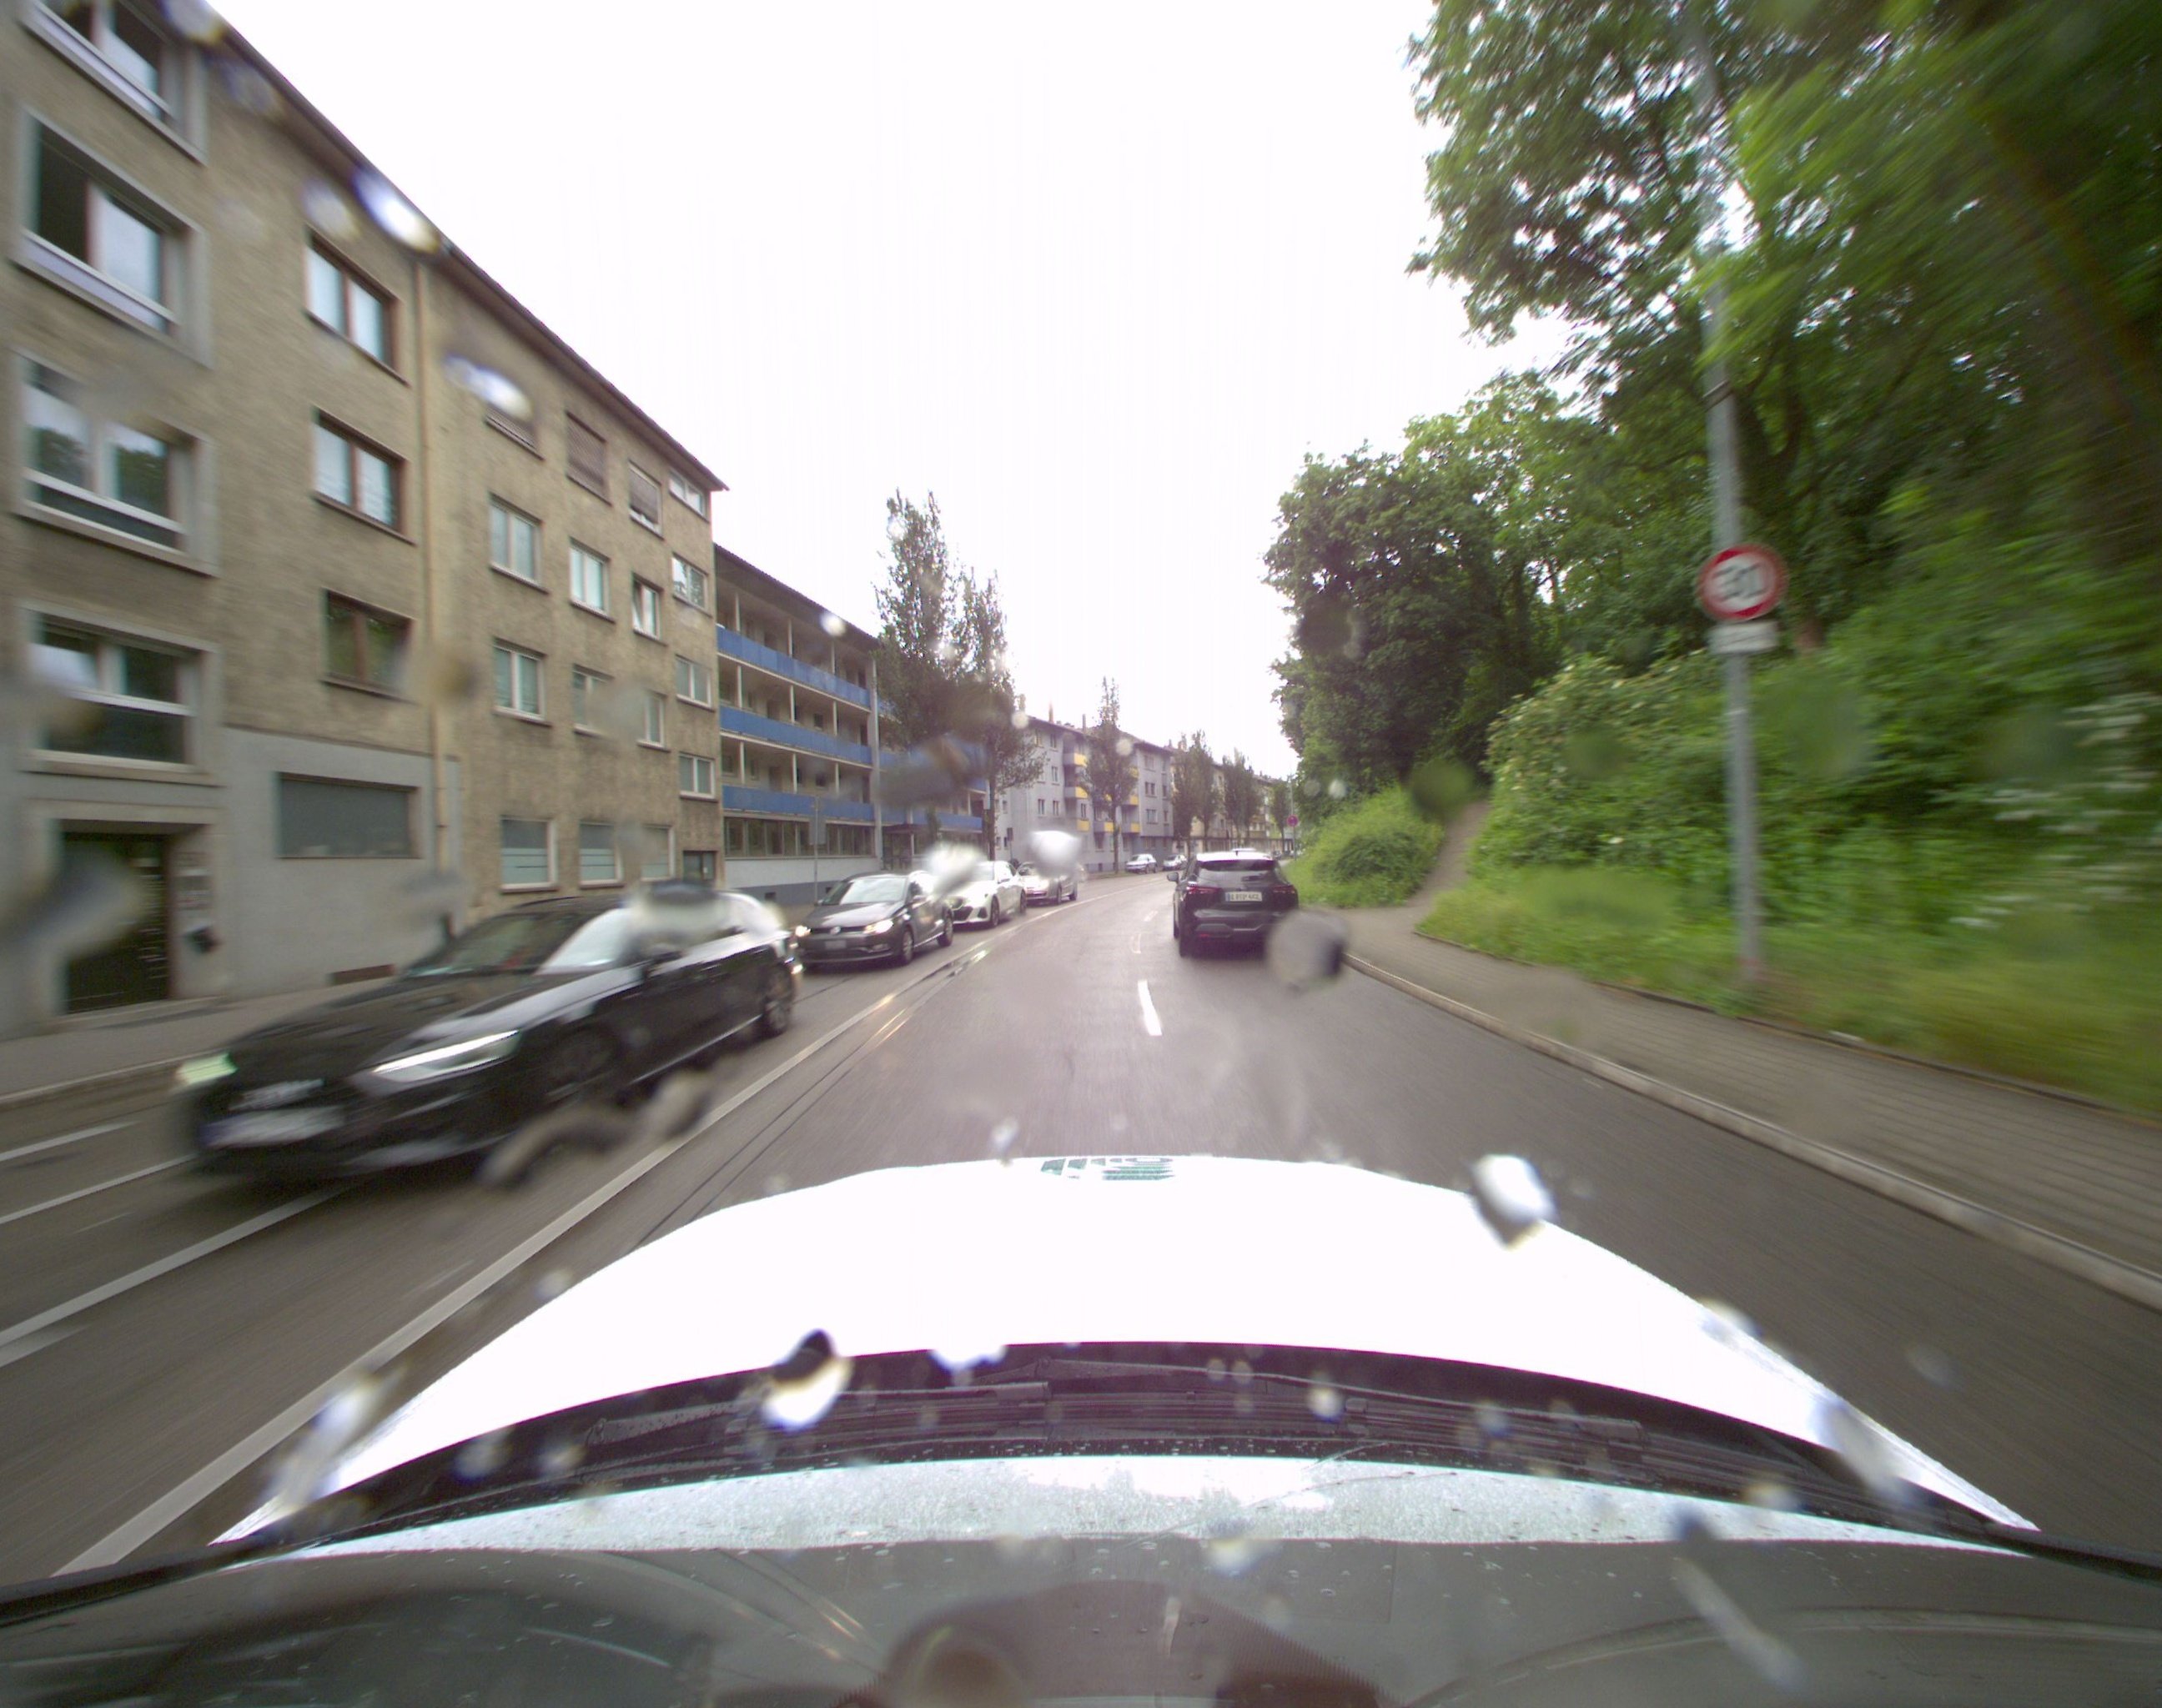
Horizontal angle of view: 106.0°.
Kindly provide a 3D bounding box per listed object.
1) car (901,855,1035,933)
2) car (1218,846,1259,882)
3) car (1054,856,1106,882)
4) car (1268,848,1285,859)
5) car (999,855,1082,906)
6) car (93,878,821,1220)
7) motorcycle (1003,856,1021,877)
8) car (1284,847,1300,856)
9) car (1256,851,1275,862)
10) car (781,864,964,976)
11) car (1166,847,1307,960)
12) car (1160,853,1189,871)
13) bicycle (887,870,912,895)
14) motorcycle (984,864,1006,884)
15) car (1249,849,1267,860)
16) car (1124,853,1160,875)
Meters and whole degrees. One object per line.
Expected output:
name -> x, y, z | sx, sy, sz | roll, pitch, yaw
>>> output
car -> -2.564, 0.854, 19.838 | 1.810, 1.516, 5.040 | -4, 0, 8
car -> 8.137, 0.471, 41.766 | 1.874, 1.711, 4.014 | -2, 0, 13
car -> -0.011, 0.955, 52.744 | 1.806, 1.439, 4.915 | -5, -1, 18
car -> 30.700, -0.060, 128.040 | 1.702, 1.489, 4.541 | -5, -1, 24
car -> -1.235, 0.825, 27.223 | 1.742, 1.425, 4.549 | -3, 0, 10
car -> -3.742, 1.006, 6.213 | 1.783, 1.407, 4.628 | -3, 0, 2
motorcycle -> -4.909, 0.864, 58.214 | 0.671, 1.414, 2.243 | 0, 0, 11
car -> 35.996, -0.481, 138.652 | 1.801, 1.372, 4.707 | -5, -1, 23
car -> 26.809, 0.343, 118.344 | 1.801, 1.489, 4.816 | -5, -1, 23
car -> -3.273, 0.970, 13.593 | 1.672, 1.447, 3.825 | -4, 0, 5
car -> 2.434, 0.698, 13.701 | 1.836, 1.582, 4.005 | -2, 0, 4
car -> 8.845, 0.733, 76.951 | 1.710, 1.453, 4.226 | -4, -1, 20
bicycle -> -8.129, 1.271, 36.493 | 0.610, 1.023, 1.734 | -3, 0, 2
motorcycle -> -5.682, 1.314, 53.958 | 0.670, 1.254, 2.245 | -1, 0, 14
car -> 24.652, 0.034, 113.528 | 1.611, 1.387, 4.011 | -4, 0, 24
car -> 5.016, 0.800, 66.680 | 1.749, 1.604, 4.556 | -4, 0, 19
